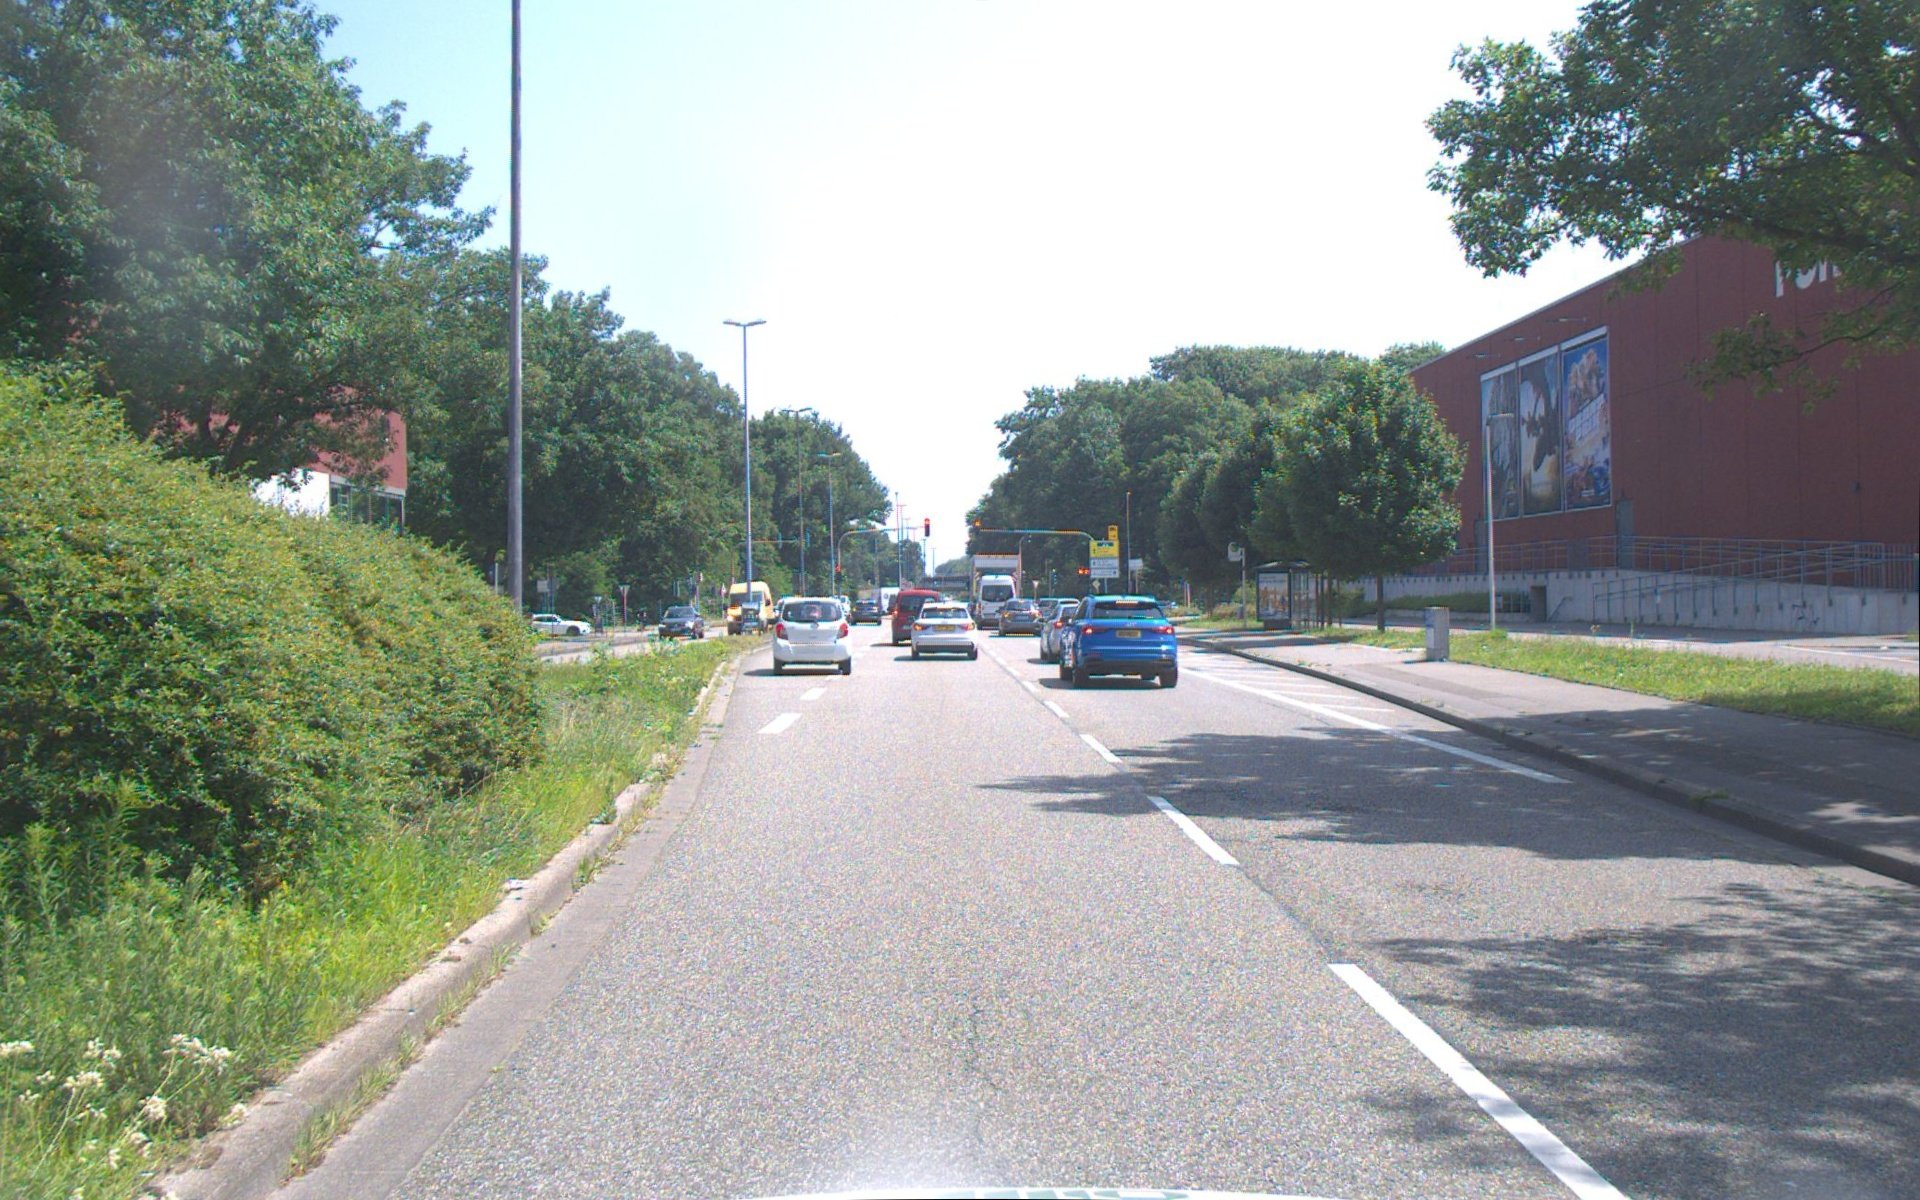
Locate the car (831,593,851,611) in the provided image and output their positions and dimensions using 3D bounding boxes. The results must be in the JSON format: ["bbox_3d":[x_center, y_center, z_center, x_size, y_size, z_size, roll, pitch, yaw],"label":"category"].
[{"bbox_3d":[-10.854,0.191,151.287,1.563,1.610,3.770,-2,0,-1],"label":"car"}]

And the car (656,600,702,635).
[{"bbox_3d":[-13.870,0.860,81.842,1.676,1.691,3.999,0,0,-1],"label":"car"}]

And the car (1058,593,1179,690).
[{"bbox_3d":[2.815,0.722,30.194,1.771,1.620,4.349,0,0,0],"label":"car"}]

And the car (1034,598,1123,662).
[{"bbox_3d":[2.901,0.725,41.226,1.828,1.499,3.999,0,0,-2],"label":"car"}]

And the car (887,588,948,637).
[{"bbox_3d":[-1.446,0.423,55.047,1.760,1.550,3.996,0,0,-5],"label":"car"}]

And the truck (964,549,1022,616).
[{"bbox_3d":[1.820,-0.952,94.163,2.873,3.563,9.156,-2,0,-1],"label":"truck"}]

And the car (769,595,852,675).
[{"bbox_3d":[-3.106,0.705,34.423,1.606,1.579,3.321,-1,0,-5],"label":"car"}]

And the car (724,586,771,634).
[{"bbox_3d":[-10.438,0.492,81.666,1.743,2.322,4.751,0,0,-1],"label":"car"}]

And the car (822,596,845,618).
[{"bbox_3d":[-8.000,0.457,104.700,1.341,1.331,2.691,-2,0,-4],"label":"car"}]

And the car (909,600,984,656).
[{"bbox_3d":[-0.361,0.715,43.080,1.846,1.378,3.999,0,0,-1],"label":"car"}]

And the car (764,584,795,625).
[{"bbox_3d":[-10.645,0.282,97.630,1.744,2.322,3.995,0,0,-5],"label":"car"}]

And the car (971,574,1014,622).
[{"bbox_3d":[1.613,-0.096,83.643,1.953,2.295,3.999,-2,0,-1],"label":"car"}]

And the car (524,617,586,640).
[{"bbox_3d":[-27.810,1.943,113.634,3.912,1.422,1.586,-2,0,-8],"label":"car"}]

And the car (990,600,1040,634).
[{"bbox_3d":[2.240,0.683,68.363,1.828,1.333,3.999,-1,0,-2],"label":"car"}]

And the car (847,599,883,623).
[{"bbox_3d":[-5.645,0.639,98.615,1.953,1.310,3.999,-2,0,-1],"label":"car"}]

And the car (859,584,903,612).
[{"bbox_3d":[-6.185,-0.135,129.230,1.969,2.049,3.967,-2,0,-26],"label":"car"}]

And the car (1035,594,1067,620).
[{"bbox_3d":[5.446,0.394,99.039,1.600,1.489,3.999,-2,0,-1],"label":"car"}]
